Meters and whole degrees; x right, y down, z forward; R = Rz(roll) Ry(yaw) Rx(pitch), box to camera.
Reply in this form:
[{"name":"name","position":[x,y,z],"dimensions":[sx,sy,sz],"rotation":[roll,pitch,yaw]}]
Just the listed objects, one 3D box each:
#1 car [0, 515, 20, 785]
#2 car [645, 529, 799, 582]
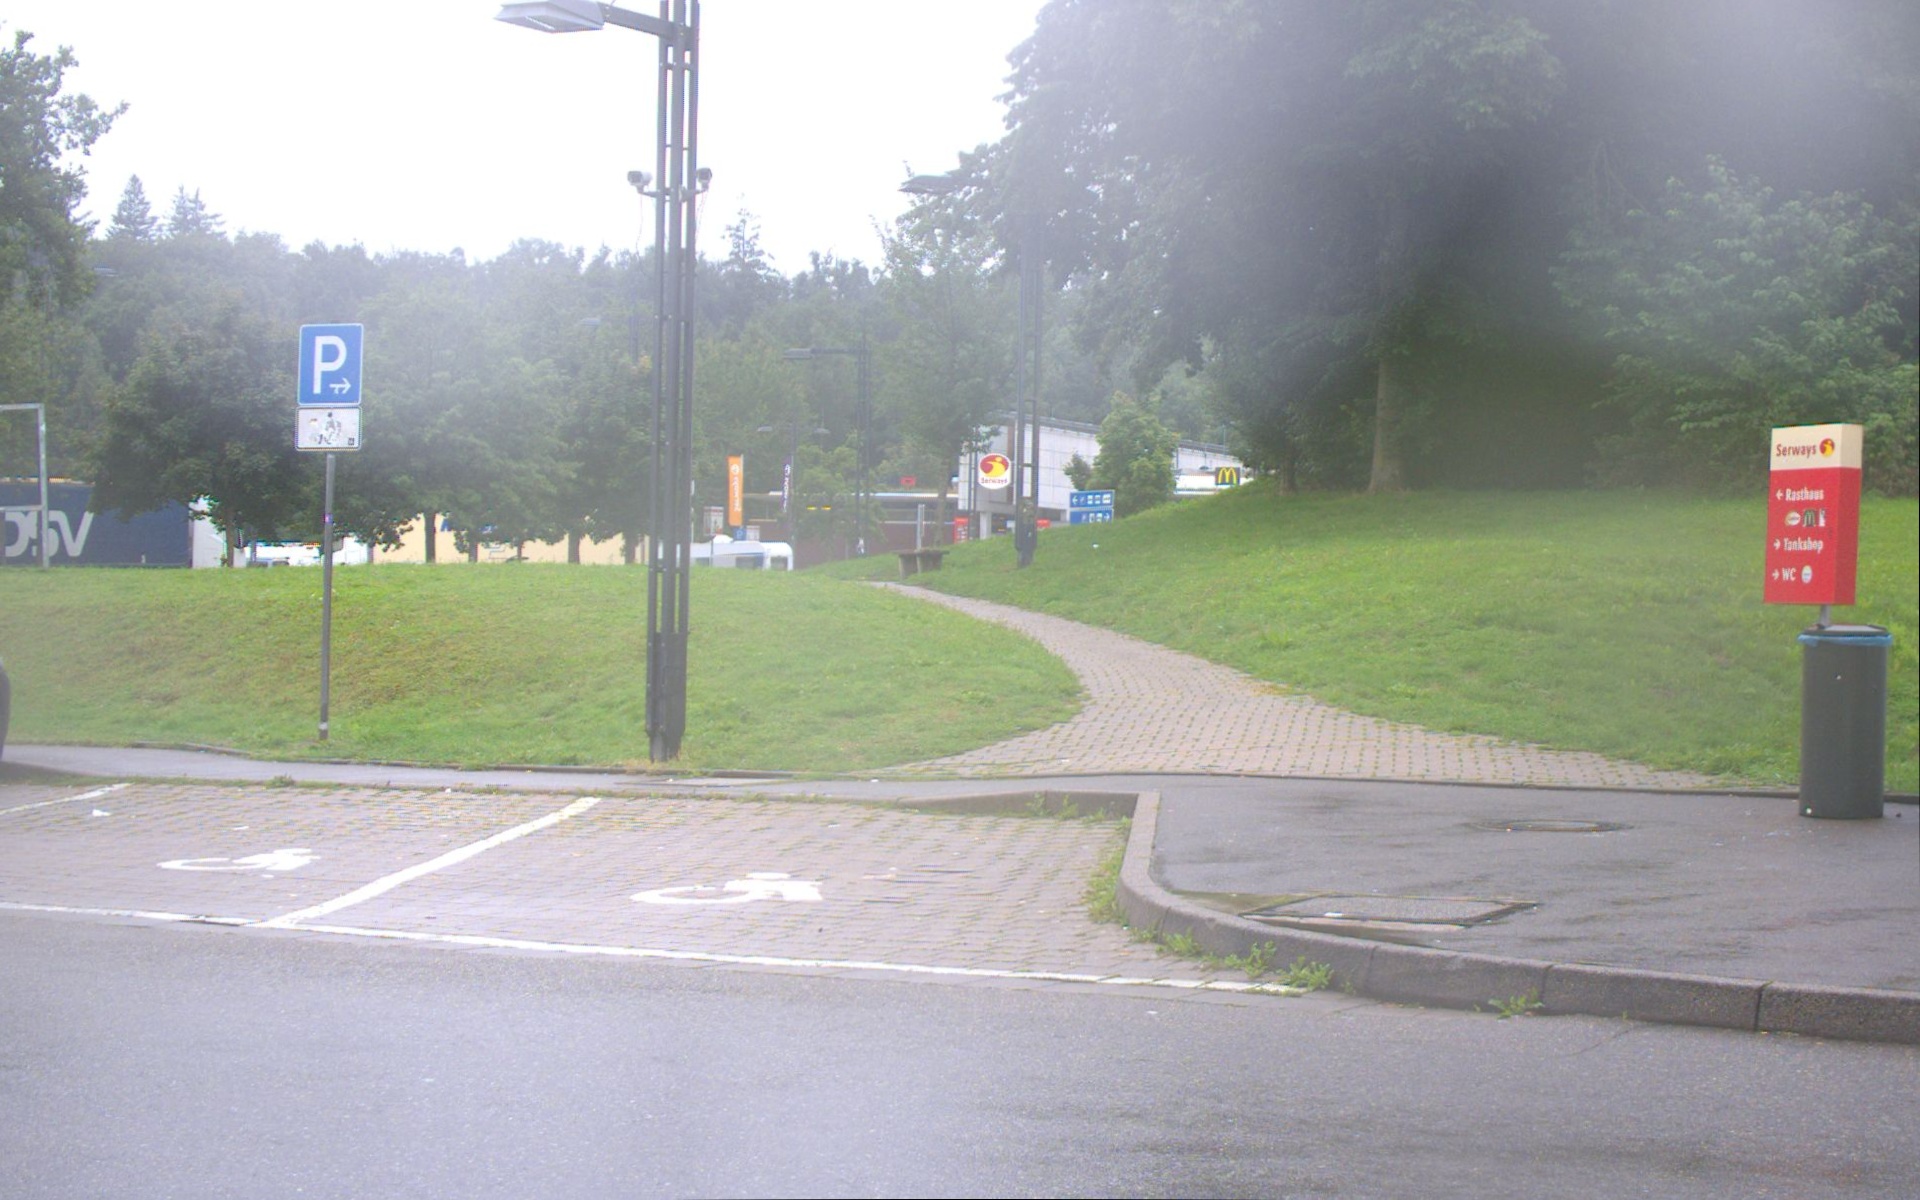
[{"name":"car","position":[-7.764,0.376,21.464],"dimensions":[1.885,1.821,4.411],"rotation":[0,1,11]},{"name":"car","position":[-9.248,-1.735,133.792],"dimensions":[5.429,2.007,2.453],"rotation":[1,1,20]}]
